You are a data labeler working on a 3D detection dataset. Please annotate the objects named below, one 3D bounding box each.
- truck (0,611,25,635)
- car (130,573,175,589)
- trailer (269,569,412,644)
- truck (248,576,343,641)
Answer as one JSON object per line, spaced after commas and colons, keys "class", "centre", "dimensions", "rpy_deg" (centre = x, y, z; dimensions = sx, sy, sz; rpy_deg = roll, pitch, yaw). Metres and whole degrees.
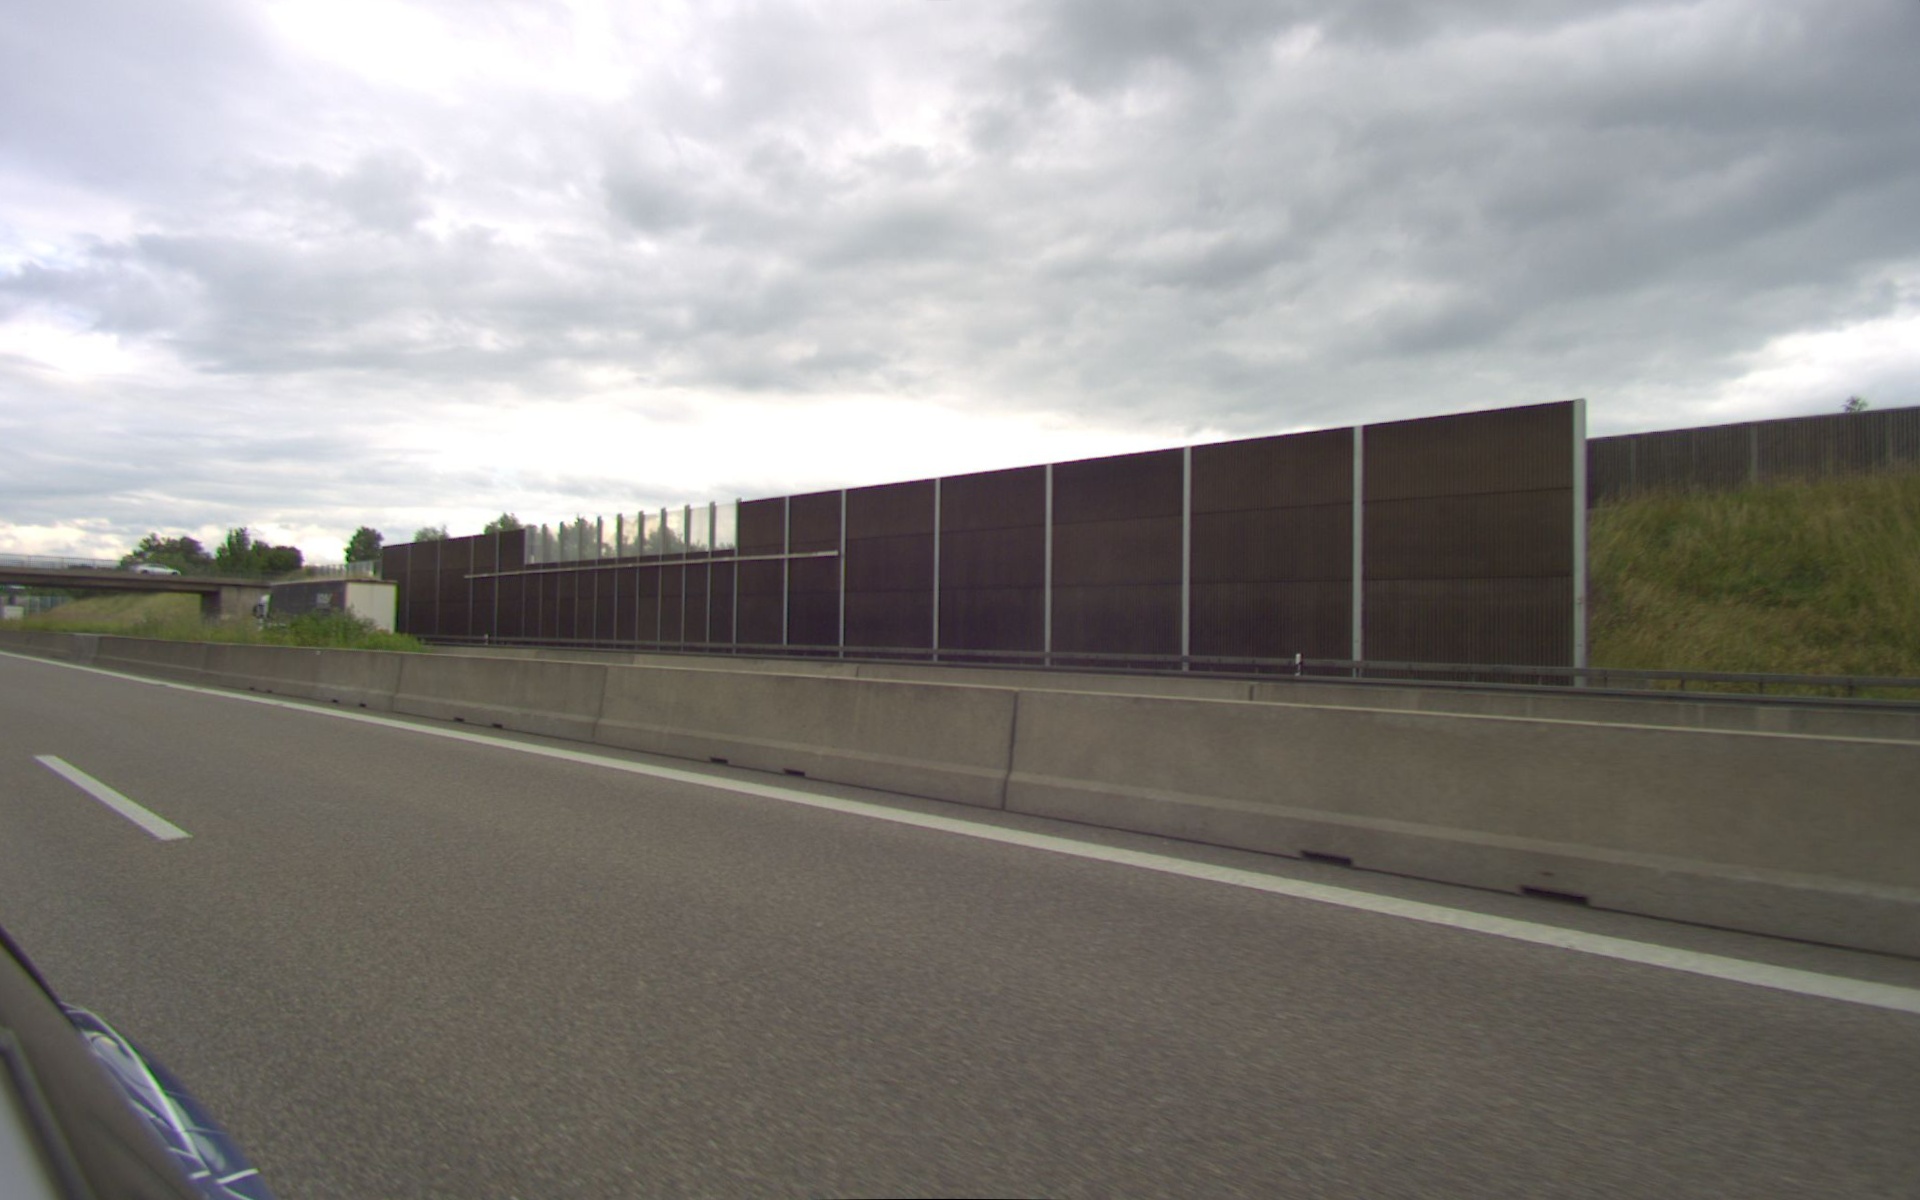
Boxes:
{"class": "truck", "centre": [-154.994, 3.739, 164.578], "dimensions": [13.004, 3.712, 2.966], "rpy_deg": [-1, -1, 42]}
{"class": "car", "centre": [-84.231, -1.980, 105.628], "dimensions": [1.654, 1.458, 3.308], "rpy_deg": [-1, -1, 29]}
{"class": "trailer", "centre": [-36.726, 0.419, 59.648], "dimensions": [12.673, 4.010, 3.633], "rpy_deg": [-1, 0, 42]}
{"class": "truck", "centre": [-42.733, 0.535, 65.032], "dimensions": [6.011, 3.977, 3.629], "rpy_deg": [-1, 0, 41]}
